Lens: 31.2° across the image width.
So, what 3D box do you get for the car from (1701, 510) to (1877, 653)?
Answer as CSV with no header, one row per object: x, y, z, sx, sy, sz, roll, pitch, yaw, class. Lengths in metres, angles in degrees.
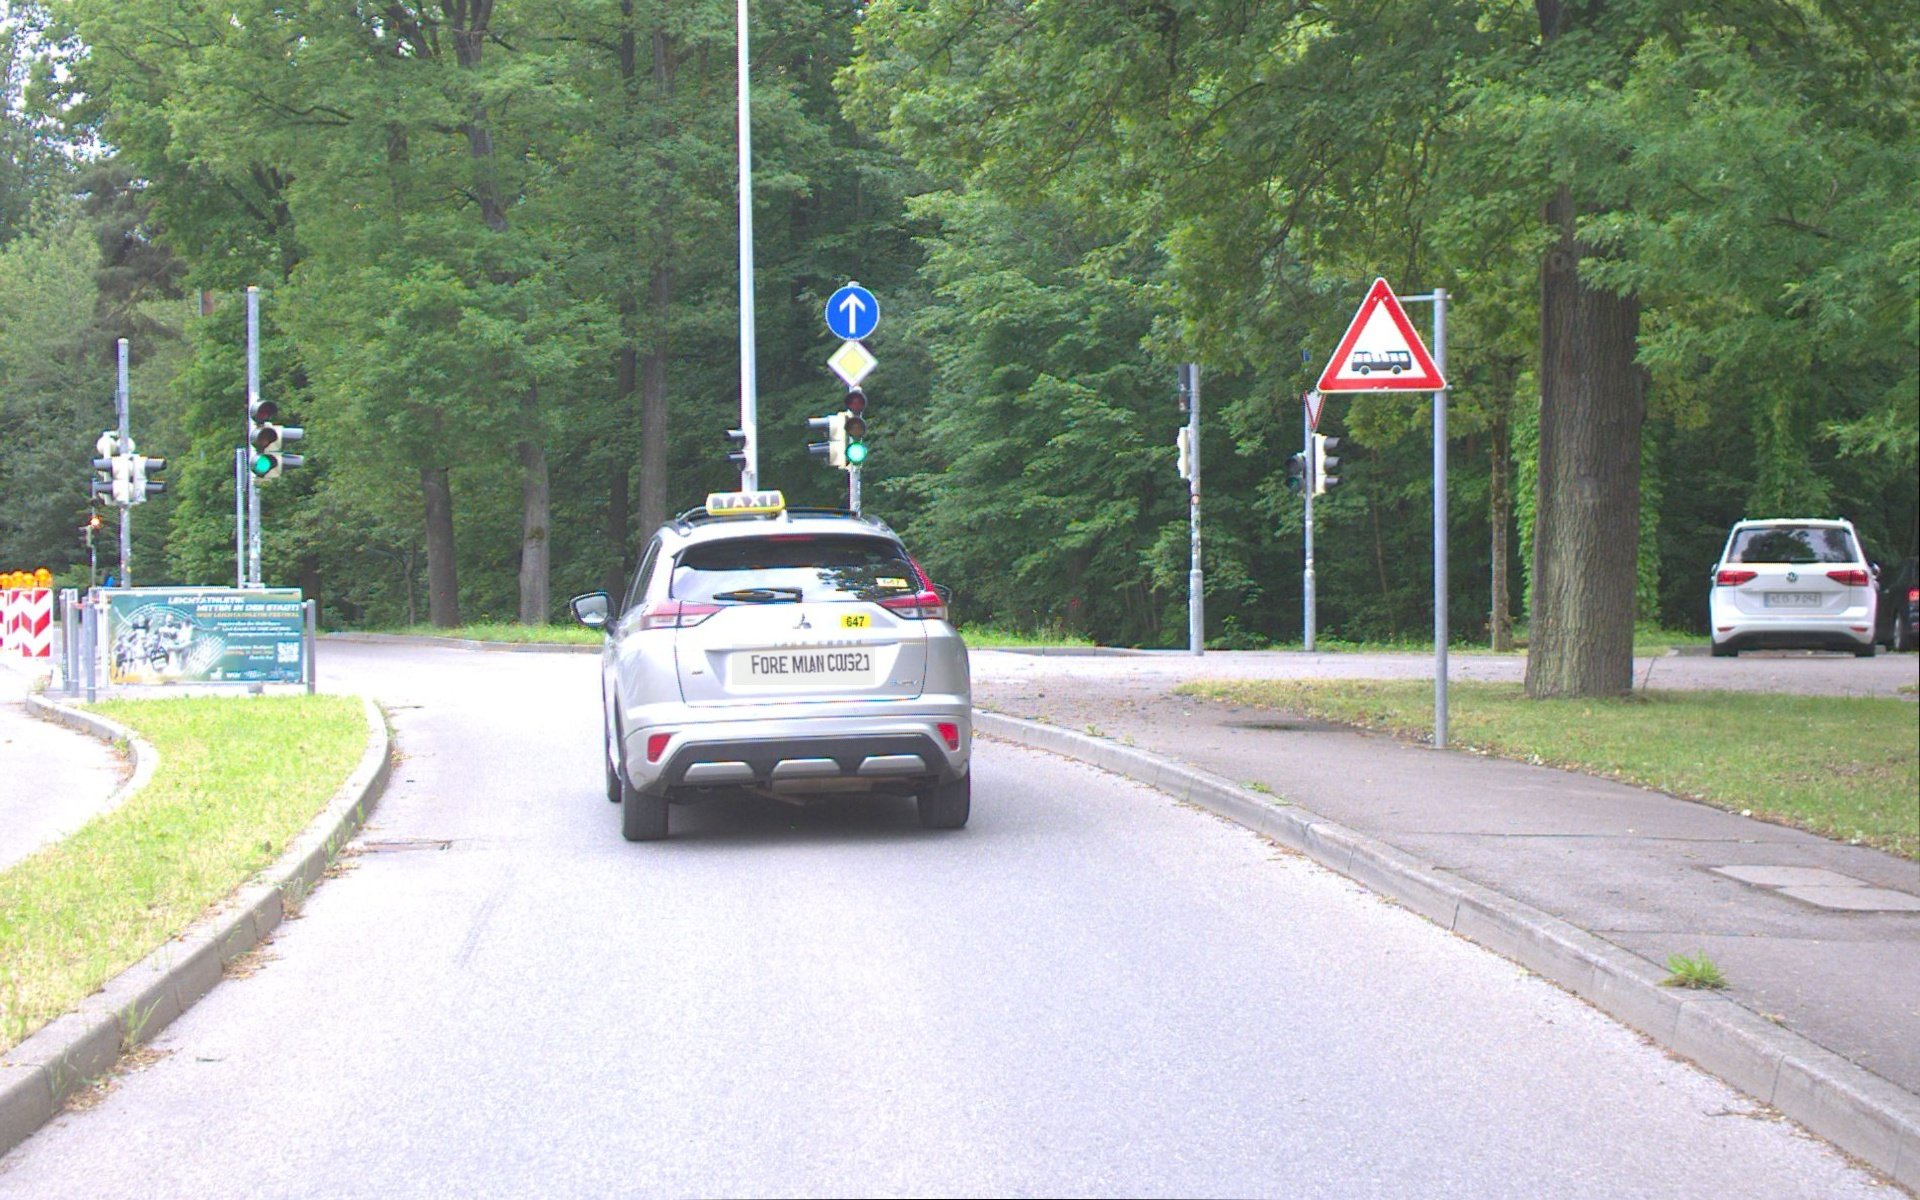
9.416,-0.235,38.875,1.835,1.531,3.997,0,1,15,car

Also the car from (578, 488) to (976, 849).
-1.091,0.336,18.594,1.773,1.742,3.781,0,0,-9,car
